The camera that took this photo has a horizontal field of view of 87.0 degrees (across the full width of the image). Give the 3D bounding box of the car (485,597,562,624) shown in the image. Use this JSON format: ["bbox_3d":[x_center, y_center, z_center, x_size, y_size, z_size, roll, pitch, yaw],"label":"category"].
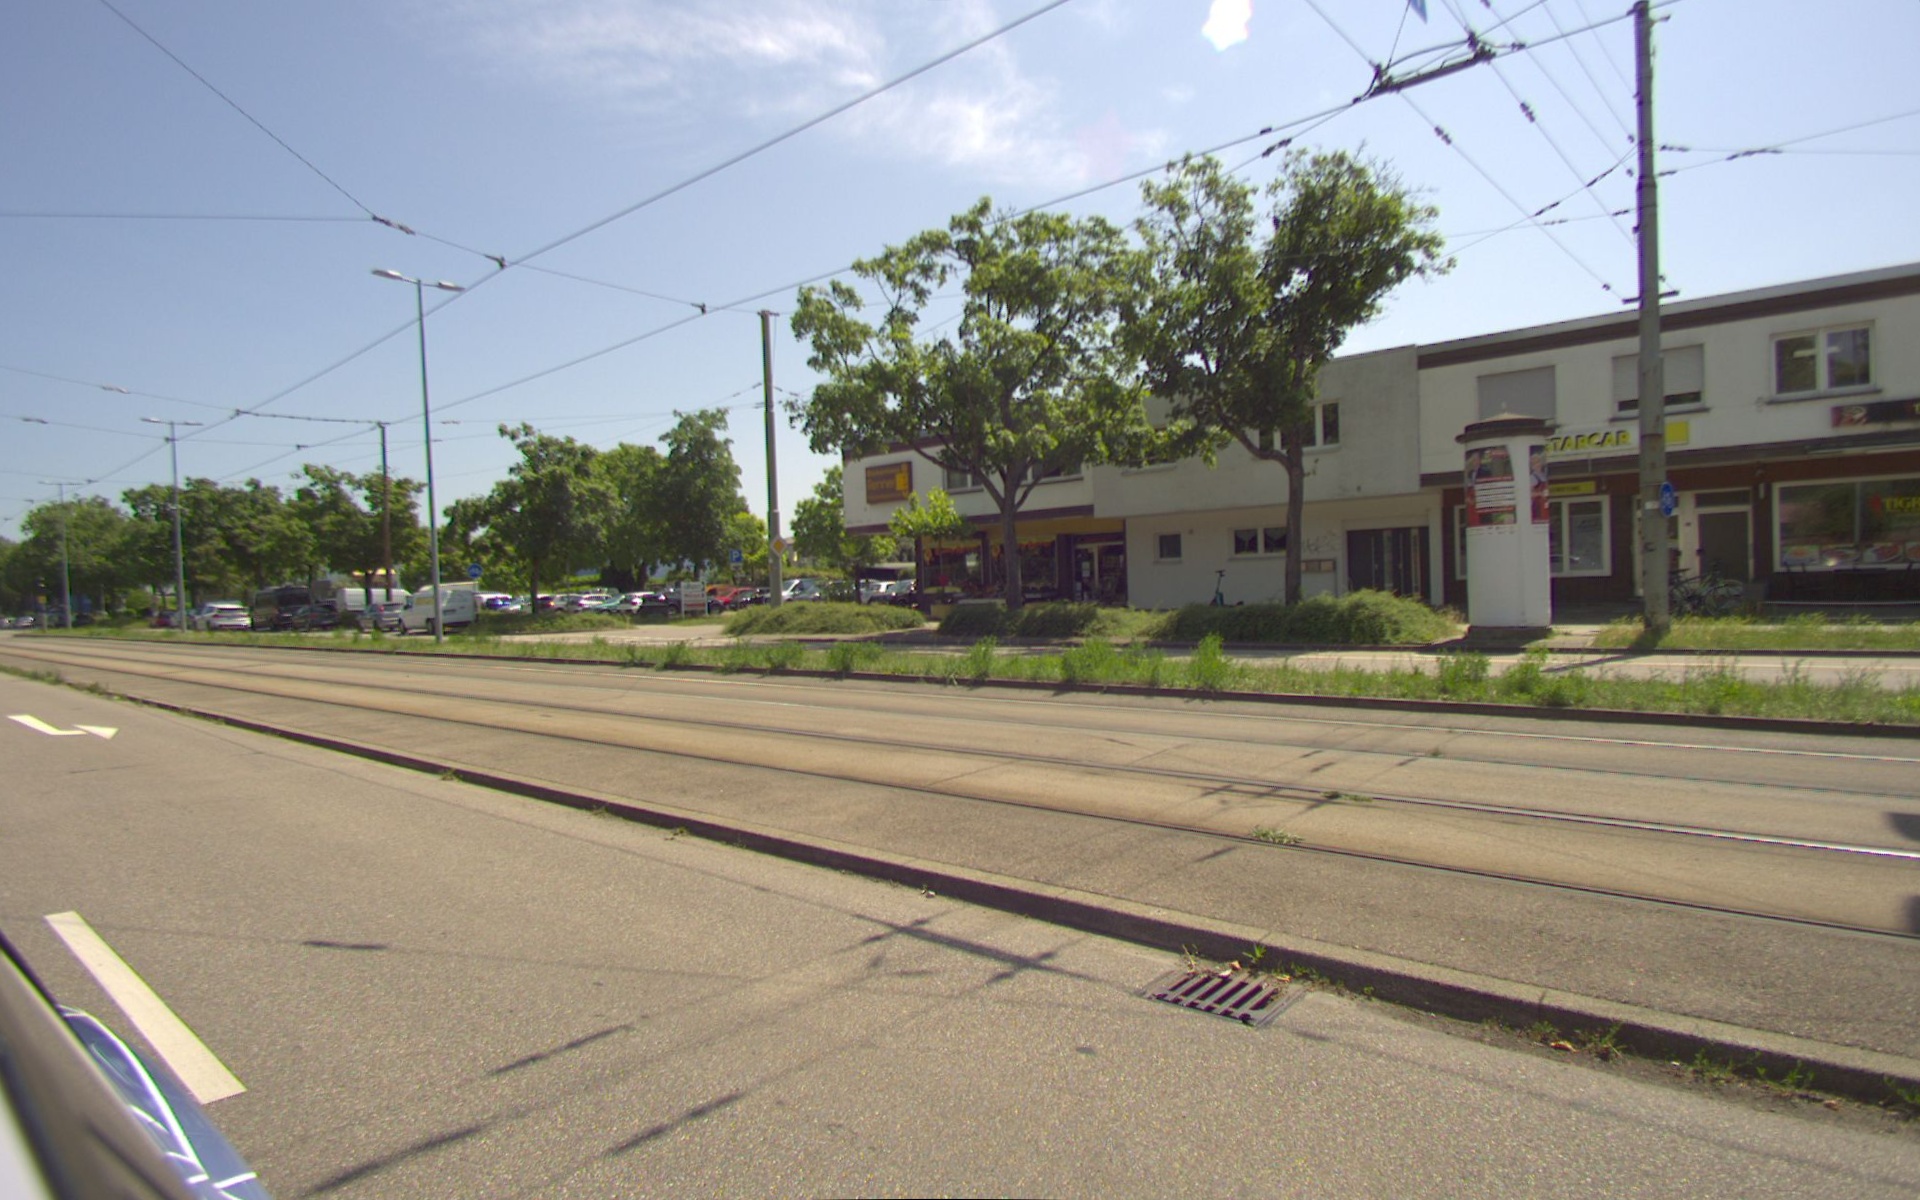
[{"bbox_3d":[-26.745,0.642,62.068,1.862,1.499,3.955,-1,1,34],"label":"car"}]

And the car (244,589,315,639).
[{"bbox_3d":[-41.091,0.827,61.029,5.666,2.859,2.214,0,0,42],"label":"car"}]

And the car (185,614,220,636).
[{"bbox_3d":[-55.471,1.801,74.091,3.261,1.489,1.410,0,0,41],"label":"car"}]

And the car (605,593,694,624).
[{"bbox_3d":[-16.594,0.425,54.147,1.983,1.501,4.120,-1,1,40],"label":"car"}]

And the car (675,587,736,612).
[{"bbox_3d":[-18.052,-0.074,71.842,1.689,1.665,4.081,-1,0,35],"label":"car"}]

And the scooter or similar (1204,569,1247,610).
[{"bbox_3d":[7.991,-0.301,30.524,0.448,1.200,1.349,-1,0,-29],"label":"scooter or similar"}]

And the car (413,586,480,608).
[{"bbox_3d":[-51.694,-0.326,101.905,2.145,2.078,5.674,-1,0,38],"label":"car"}]

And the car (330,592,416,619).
[{"bbox_3d":[-45.269,0.410,78.112,2.029,1.970,5.363,-1,0,43],"label":"car"}]

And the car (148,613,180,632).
[{"bbox_3d":[-64.114,1.803,81.509,3.423,1.491,1.561,0,0,43],"label":"car"}]

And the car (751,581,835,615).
[{"bbox_3d":[-10.697,-0.153,65.033,2.225,2.085,5.055,-1,0,41],"label":"car"}]

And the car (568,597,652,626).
[{"bbox_3d":[-19.085,0.605,55.345,1.908,1.501,3.995,-1,0,34],"label":"car"}]

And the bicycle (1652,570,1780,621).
[{"bbox_3d":[15.262,-0.079,20.459,2.028,0.986,0.604,0,0,41],"label":"bicycle"}]

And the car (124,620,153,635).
[{"bbox_3d":[-72.778,2.426,89.644,3.423,1.167,1.561,0,0,43],"label":"car"}]

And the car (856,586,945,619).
[{"bbox_3d":[-2.656,0.097,45.976,1.682,1.306,3.944,-2,1,43],"label":"car"}]

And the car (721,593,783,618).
[{"bbox_3d":[-14.093,0.349,68.559,1.683,1.597,3.948,-1,0,39],"label":"car"}]

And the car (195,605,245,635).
[{"bbox_3d":[-51.420,1.349,70.319,4.816,1.963,1.899,0,0,43],"label":"car"}]

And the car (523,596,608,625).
[{"bbox_3d":[-22.764,0.593,58.533,2.018,1.501,4.117,-1,1,34],"label":"car"}]

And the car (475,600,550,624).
[{"bbox_3d":[-28.420,0.766,64.362,1.794,1.417,3.950,-2,0,37],"label":"car"}]

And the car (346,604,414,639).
[{"bbox_3d":[-28.991,1.060,50.569,4.124,1.513,1.633,-1,4,42],"label":"car"}]

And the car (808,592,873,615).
[{"bbox_3d":[-7.197,0.206,61.226,1.764,1.294,3.675,0,0,43],"label":"car"}]

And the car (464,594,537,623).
[{"bbox_3d":[-30.147,0.573,66.440,1.794,1.730,3.951,-1,1,37],"label":"car"}]

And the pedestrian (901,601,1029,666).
[{"bbox_3d":[0.129,1.060,33.955,3.997,2.029,1.973,0,0,41],"label":"pedestrian"}]

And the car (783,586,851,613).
[{"bbox_3d":[-8.919,-0.042,63.381,1.804,1.669,3.943,-1,0,43],"label":"car"}]

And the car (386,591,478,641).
[{"bbox_3d":[-24.178,0.719,46.226,5.342,2.025,1.856,-1,4,42],"label":"car"}]

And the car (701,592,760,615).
[{"bbox_3d":[-16.006,0.219,70.722,1.712,1.505,3.953,-1,0,35],"label":"car"}]

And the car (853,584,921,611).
[{"bbox_3d":[-4.300,-0.149,60.240,1.661,1.531,3.943,-1,0,43],"label":"car"}]

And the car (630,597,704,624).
[{"bbox_3d":[-15.025,0.539,52.018,1.639,1.241,3.385,-1,1,34],"label":"car"}]

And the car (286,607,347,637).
[{"bbox_3d":[-36.223,1.208,56.919,3.751,1.589,1.950,0,0,42],"label":"car"}]

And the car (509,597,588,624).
[{"bbox_3d":[-24.634,0.613,60.705,1.827,1.501,4.030,-1,1,34],"label":"car"}]

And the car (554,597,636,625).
[{"bbox_3d":[-20.614,0.585,57.344,1.855,1.501,4.099,-1,0,34],"label":"car"}]

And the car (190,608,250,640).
[{"bbox_3d":[-39.619,1.267,54.137,4.569,1.622,1.705,0,0,42],"label":"car"}]

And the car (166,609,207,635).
[{"bbox_3d":[-59.000,1.638,77.193,4.495,1.907,1.614,0,0,41],"label":"car"}]

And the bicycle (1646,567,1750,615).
[{"bbox_3d":[15.846,-0.183,21.760,1.758,0.986,0.533,0,0,41],"label":"bicycle"}]
